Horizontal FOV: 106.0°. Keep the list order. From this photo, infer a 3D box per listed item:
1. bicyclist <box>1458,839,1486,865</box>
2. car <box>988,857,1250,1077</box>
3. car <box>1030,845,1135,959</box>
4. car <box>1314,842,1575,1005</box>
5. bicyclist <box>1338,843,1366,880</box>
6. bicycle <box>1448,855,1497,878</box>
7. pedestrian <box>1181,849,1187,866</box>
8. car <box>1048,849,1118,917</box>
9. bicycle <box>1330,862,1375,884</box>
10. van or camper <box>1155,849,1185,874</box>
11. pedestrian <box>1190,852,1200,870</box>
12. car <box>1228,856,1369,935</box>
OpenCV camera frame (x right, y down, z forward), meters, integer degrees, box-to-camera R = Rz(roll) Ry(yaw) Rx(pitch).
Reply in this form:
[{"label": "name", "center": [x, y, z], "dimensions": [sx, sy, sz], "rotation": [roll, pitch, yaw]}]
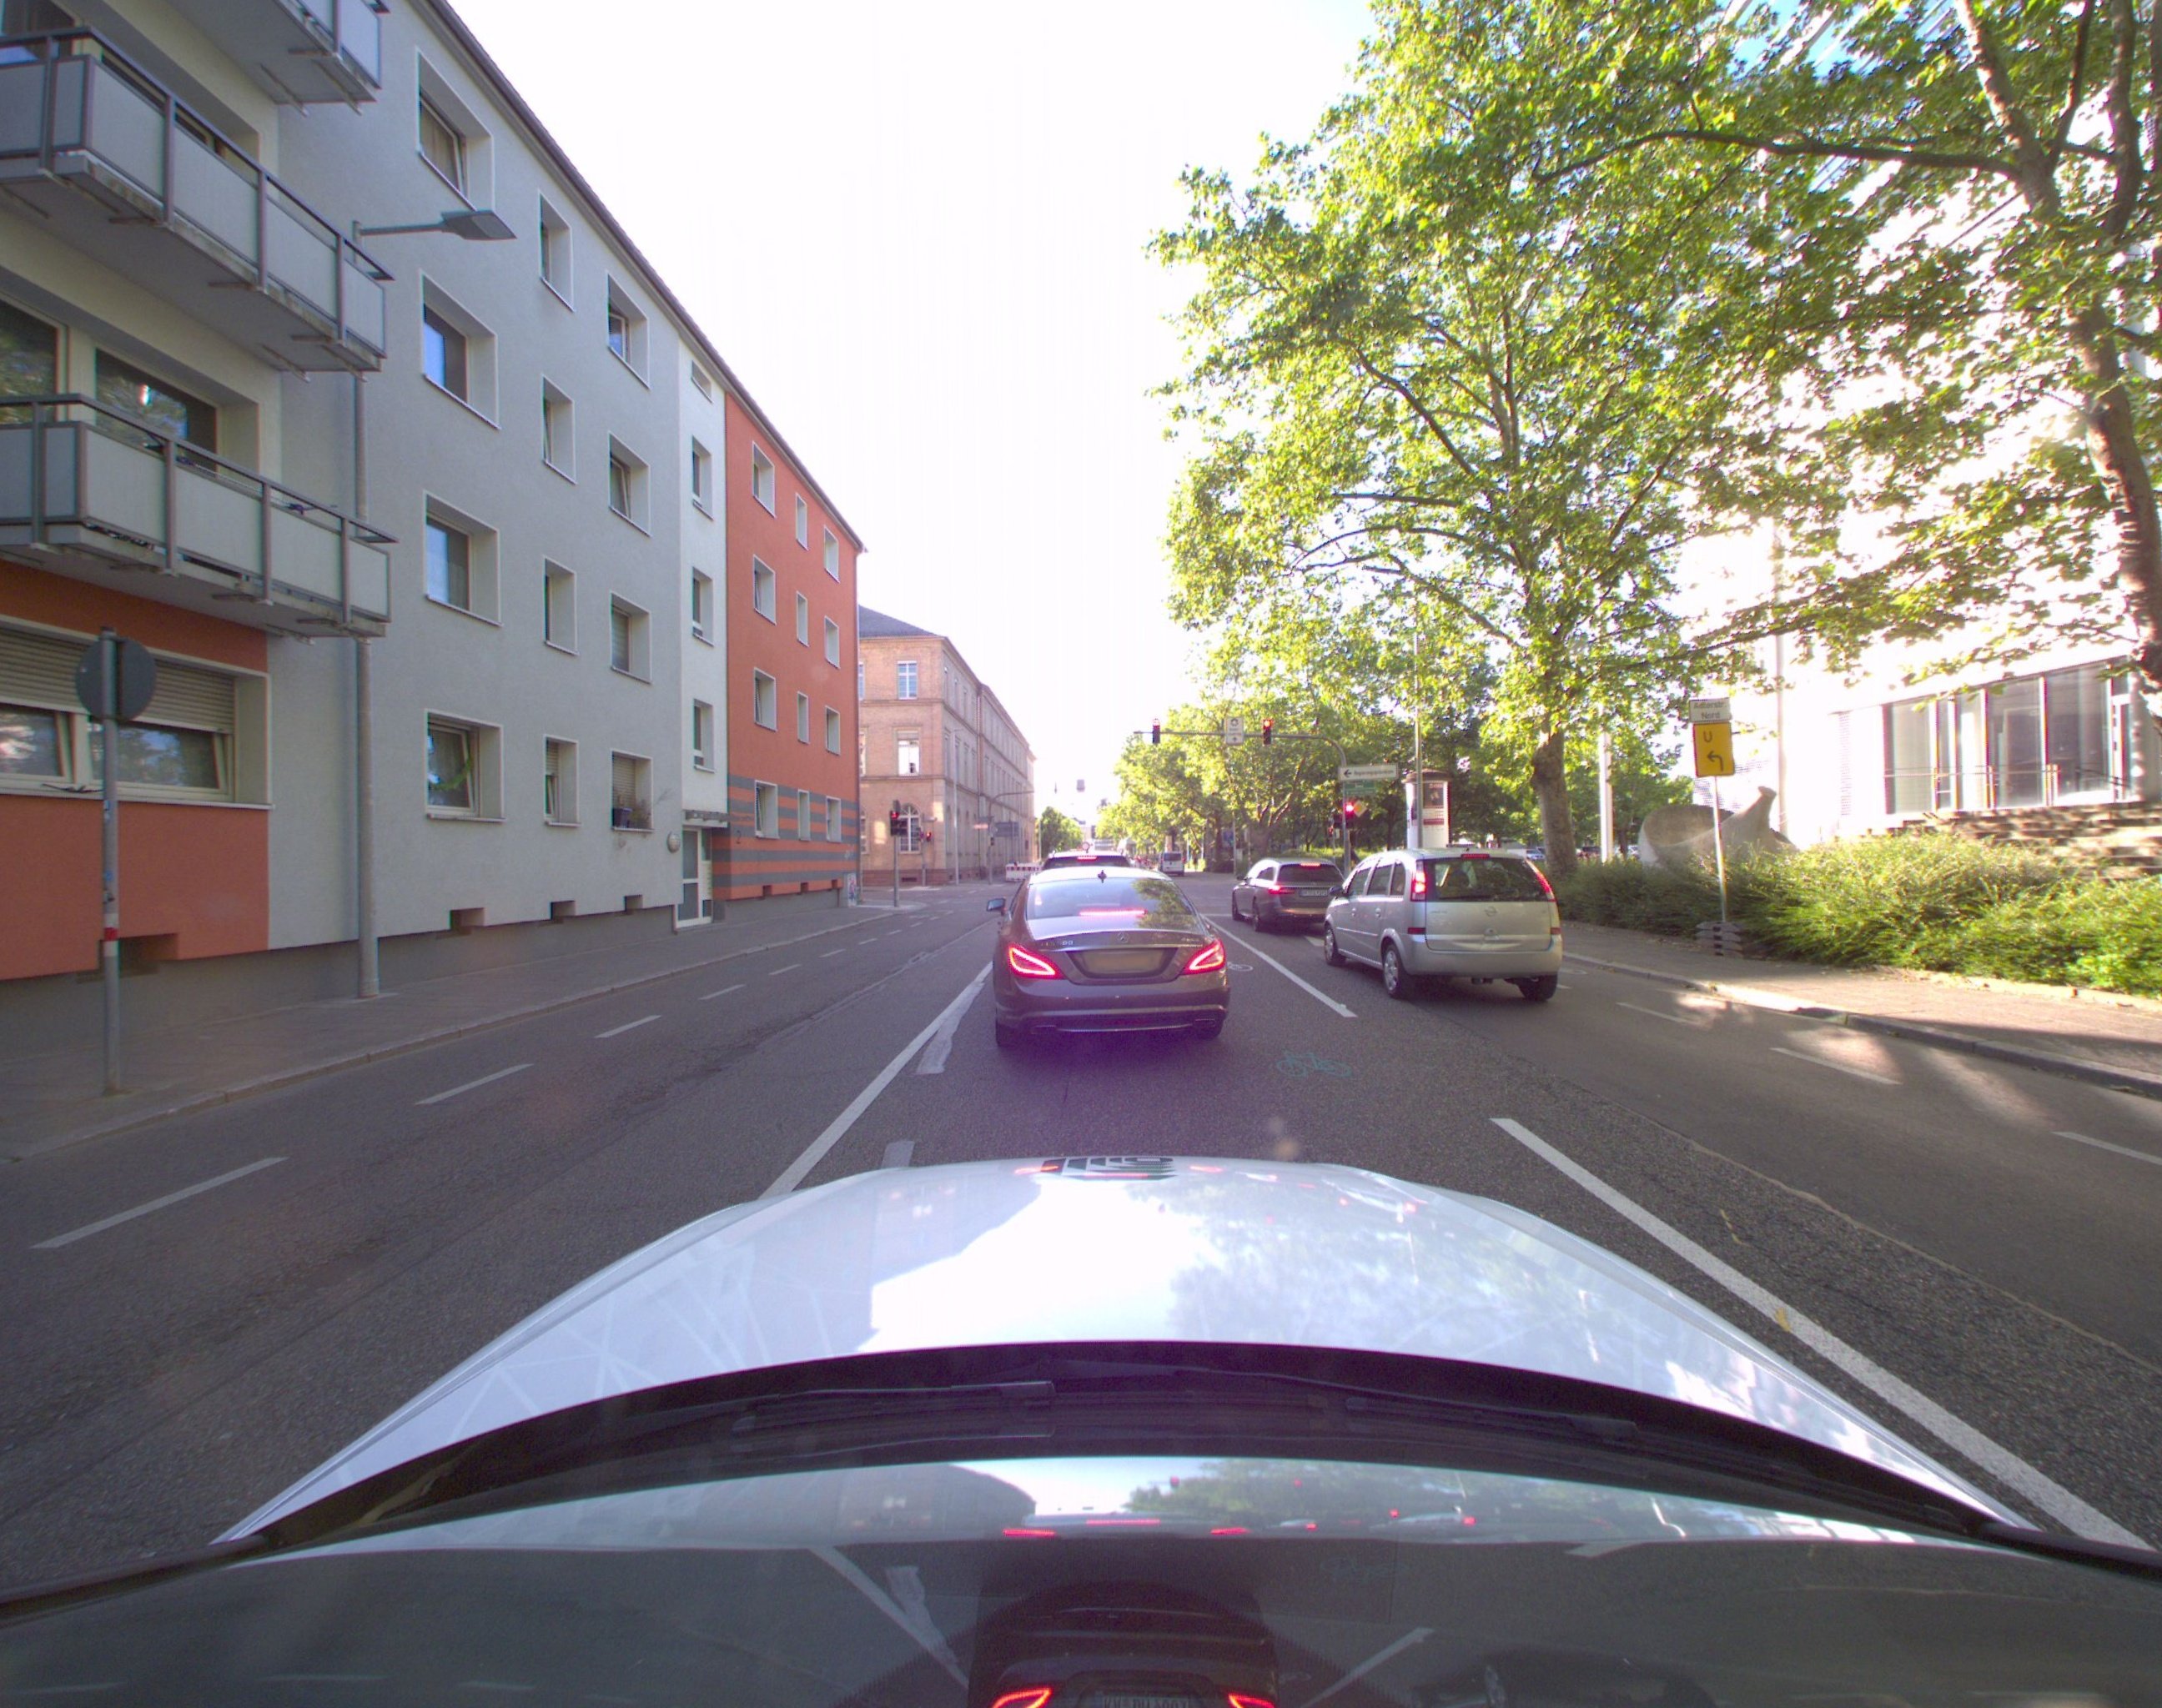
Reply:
[{"label": "bicyclist", "center": [18.182, -0.093, 37.913], "dimensions": [0.987, 1.154, 0.621], "rotation": [-1, 0, 3]}, {"label": "car", "center": [0.082, 0.769, 7.772], "dimensions": [1.801, 1.456, 4.342], "rotation": [-1, 0, -5]}, {"label": "car", "center": [0.019, 0.708, 13.840], "dimensions": [1.513, 1.647, 3.879], "rotation": [-1, 0, 0]}, {"label": "car", "center": [4.138, 0.682, 9.986], "dimensions": [1.694, 1.603, 3.863], "rotation": [0, 0, 4]}, {"label": "bicyclist", "center": [12.179, 0.339, 36.627], "dimensions": [1.013, 1.642, 0.607], "rotation": [-1, 0, -4]}, {"label": "bicycle", "center": [18.209, 0.561, 37.904], "dimensions": [1.972, 1.027, 0.652], "rotation": [-1, 0, 2]}, {"label": "pedestrian", "center": [11.568, 0.407, 91.772], "dimensions": [0.601, 1.821, 0.652], "rotation": [-1, 0, 1]}, {"label": "car", "center": [0.125, 0.764, 23.367], "dimensions": [1.813, 1.762, 4.002], "rotation": [-1, 0, 2]}, {"label": "bicycle", "center": [12.197, 0.851, 36.616], "dimensions": [1.791, 0.946, 0.613], "rotation": [-1, 0, -5]}, {"label": "van or camper", "center": [7.013, 0.577, 64.556], "dimensions": [1.987, 1.941, 4.595], "rotation": [-1, 0, 1]}, {"label": "pedestrian", "center": [10.409, 0.614, 74.520], "dimensions": [0.827, 1.606, 0.652], "rotation": [-1, 0, 1]}, {"label": "car", "center": [4.466, 0.772, 17.456], "dimensions": [1.905, 1.464, 4.671], "rotation": [0, 0, 2]}]
